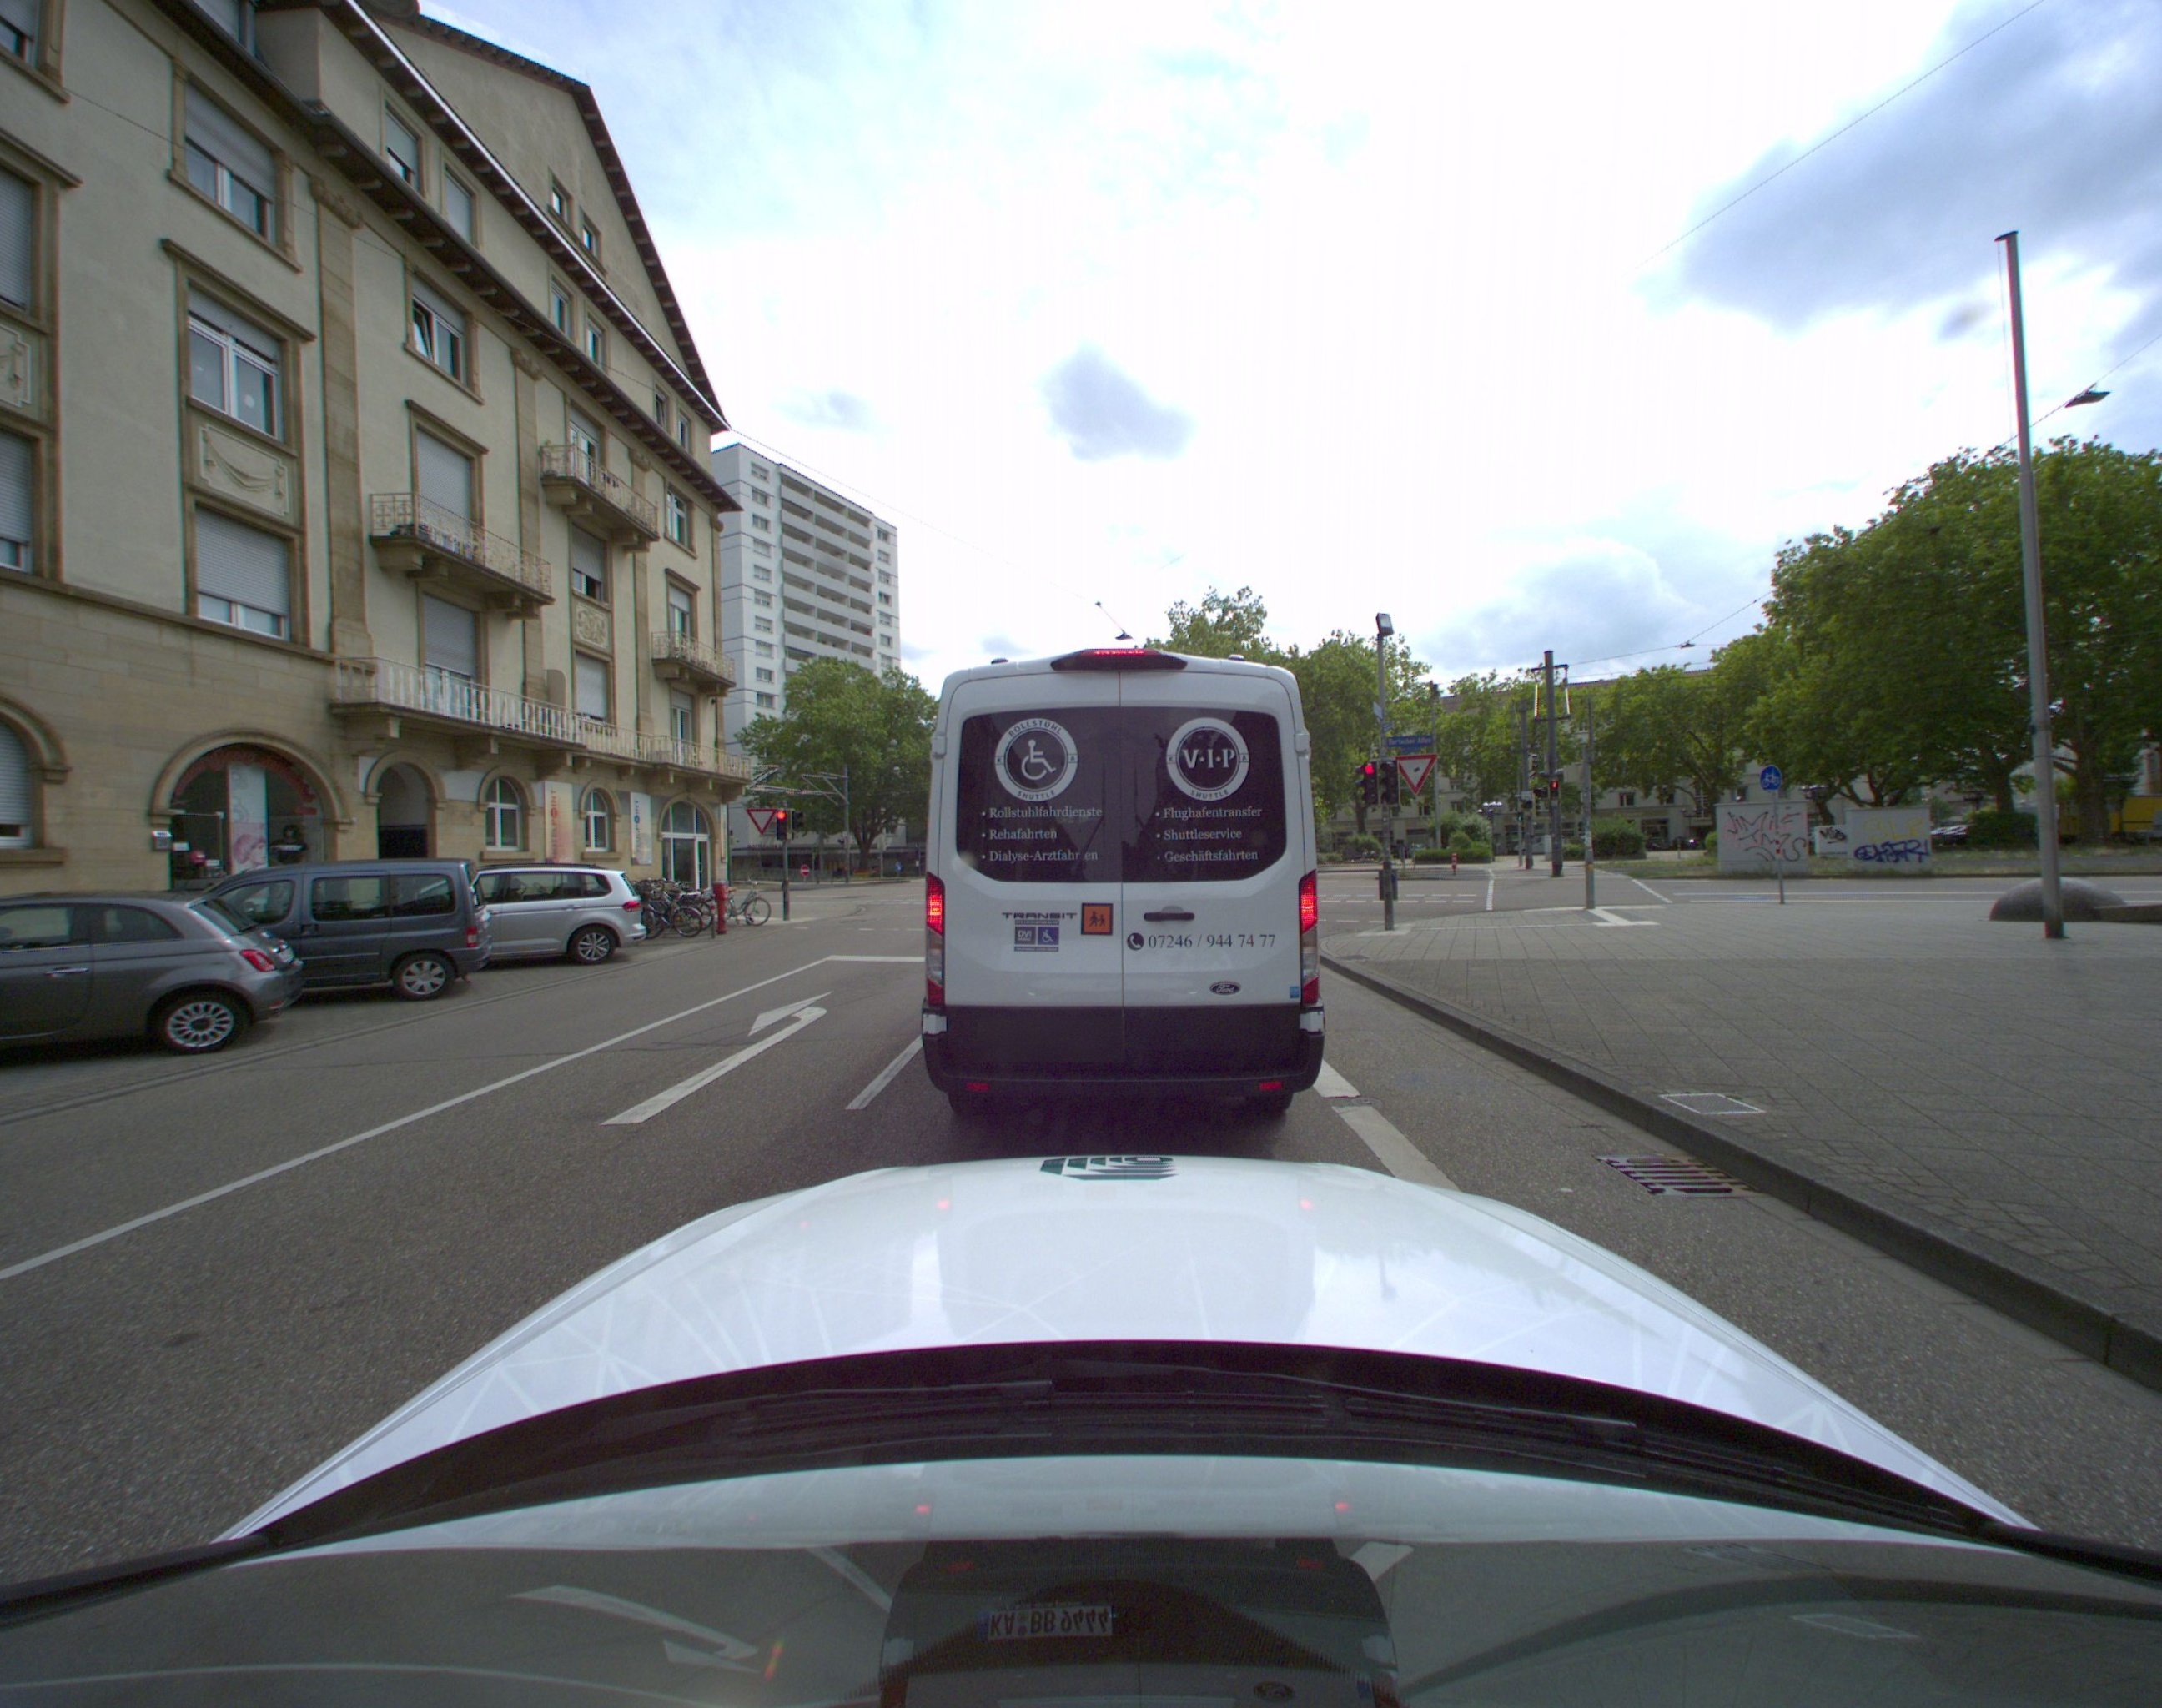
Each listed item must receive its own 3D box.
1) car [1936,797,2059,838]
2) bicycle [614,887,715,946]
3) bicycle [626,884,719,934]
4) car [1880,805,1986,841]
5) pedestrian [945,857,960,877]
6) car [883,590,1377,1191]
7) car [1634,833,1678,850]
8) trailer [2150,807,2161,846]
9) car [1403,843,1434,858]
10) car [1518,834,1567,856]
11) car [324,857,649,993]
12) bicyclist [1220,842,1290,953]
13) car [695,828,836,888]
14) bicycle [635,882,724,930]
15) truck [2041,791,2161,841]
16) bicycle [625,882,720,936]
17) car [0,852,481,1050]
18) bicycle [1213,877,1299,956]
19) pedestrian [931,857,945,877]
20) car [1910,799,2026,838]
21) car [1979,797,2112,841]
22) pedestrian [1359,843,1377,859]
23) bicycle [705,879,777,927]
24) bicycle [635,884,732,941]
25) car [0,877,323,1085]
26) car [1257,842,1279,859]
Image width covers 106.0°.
[{"bbox_3d":[65.722,-2.575,58.539,5.271,2.585,2.512,-2,-1,24],"label":"car"},{"bbox_3d":[-8.616,1.287,16.860,1.799,1.120,0.595,-2,0,8],"label":"bicycle"},{"bbox_3d":[-9.457,1.265,18.902,1.807,1.120,0.593,0,0,-6],"label":"bicycle"},{"bbox_3d":[68.910,-2.496,66.009,5.271,2.585,2.512,-2,-1,24],"label":"car"},{"bbox_3d":[-10.022,1.029,63.476,0.922,1.514,0.727,-2,0,16],"label":"pedestrian"},{"bbox_3d":[0.242,0.130,5.909,2.174,2.647,4.629,0,1,0],"label":"car"},{"bbox_3d":[55.353,-1.177,78.515,1.757,1.503,4.008,-2,0,7],"label":"car"},{"bbox_3d":[55.502,-1.445,39.288,4.381,1.925,1.865,-2,0,26],"label":"trailer"},{"bbox_3d":[36.258,-0.405,87.513,1.983,1.503,4.008,-2,0,7],"label":"car"},{"bbox_3d":[44.022,-0.863,77.770,3.950,1.883,1.868,-2,0,26],"label":"car"},{"bbox_3d":[-9.512,1.017,13.342,4.031,1.773,1.776,-2,0,-37],"label":"car"},{"bbox_3d":[2.748,0.668,12.951,0.901,1.683,0.756,-2,0,-1],"label":"bicyclist"},{"bbox_3d":[-22.326,0.307,57.521,9.793,3.915,3.476,-2,0,26],"label":"car"},{"bbox_3d":[-9.641,1.241,19.605,1.807,1.120,0.593,0,0,-6],"label":"bicycle"},{"bbox_3d":[58.758,-2.121,46.204,3.042,2.577,6.549,-2,0,25],"label":"truck"},{"bbox_3d":[-9.150,1.228,18.283,1.807,1.166,0.593,0,0,-6],"label":"bicycle"},{"bbox_3d":[-9.918,0.985,10.022,4.031,1.878,1.776,-2,0,-37],"label":"car"},{"bbox_3d":[2.746,0.953,12.994,0.900,1.075,1.969,-2,0,-1],"label":"bicycle"},{"bbox_3d":[-11.182,1.013,63.654,0.801,1.572,0.727,-2,0,16],"label":"pedestrian"},{"bbox_3d":[66.665,-2.639,61.356,5.271,2.585,2.512,-2,-1,24],"label":"car"},{"bbox_3d":[64.416,-2.307,54.526,5.271,2.585,2.192,-2,-1,24],"label":"car"},{"bbox_3d":[24.698,-0.253,70.000,1.086,1.236,1.443,-4,-1,6],"label":"pedestrian"},{"bbox_3d":[-8.640,1.228,20.698,1.859,1.167,0.500,0,0,22],"label":"bicycle"},{"bbox_3d":[-8.548,1.251,17.530,1.800,1.120,0.595,2,0,5],"label":"bicycle"},{"bbox_3d":[-9.799,1.130,7.420,4.031,1.651,1.776,-2,0,-37],"label":"car"},{"bbox_3d":[21.694,-0.387,94.607,1.983,1.930,4.008,-2,0,7],"label":"car"}]
